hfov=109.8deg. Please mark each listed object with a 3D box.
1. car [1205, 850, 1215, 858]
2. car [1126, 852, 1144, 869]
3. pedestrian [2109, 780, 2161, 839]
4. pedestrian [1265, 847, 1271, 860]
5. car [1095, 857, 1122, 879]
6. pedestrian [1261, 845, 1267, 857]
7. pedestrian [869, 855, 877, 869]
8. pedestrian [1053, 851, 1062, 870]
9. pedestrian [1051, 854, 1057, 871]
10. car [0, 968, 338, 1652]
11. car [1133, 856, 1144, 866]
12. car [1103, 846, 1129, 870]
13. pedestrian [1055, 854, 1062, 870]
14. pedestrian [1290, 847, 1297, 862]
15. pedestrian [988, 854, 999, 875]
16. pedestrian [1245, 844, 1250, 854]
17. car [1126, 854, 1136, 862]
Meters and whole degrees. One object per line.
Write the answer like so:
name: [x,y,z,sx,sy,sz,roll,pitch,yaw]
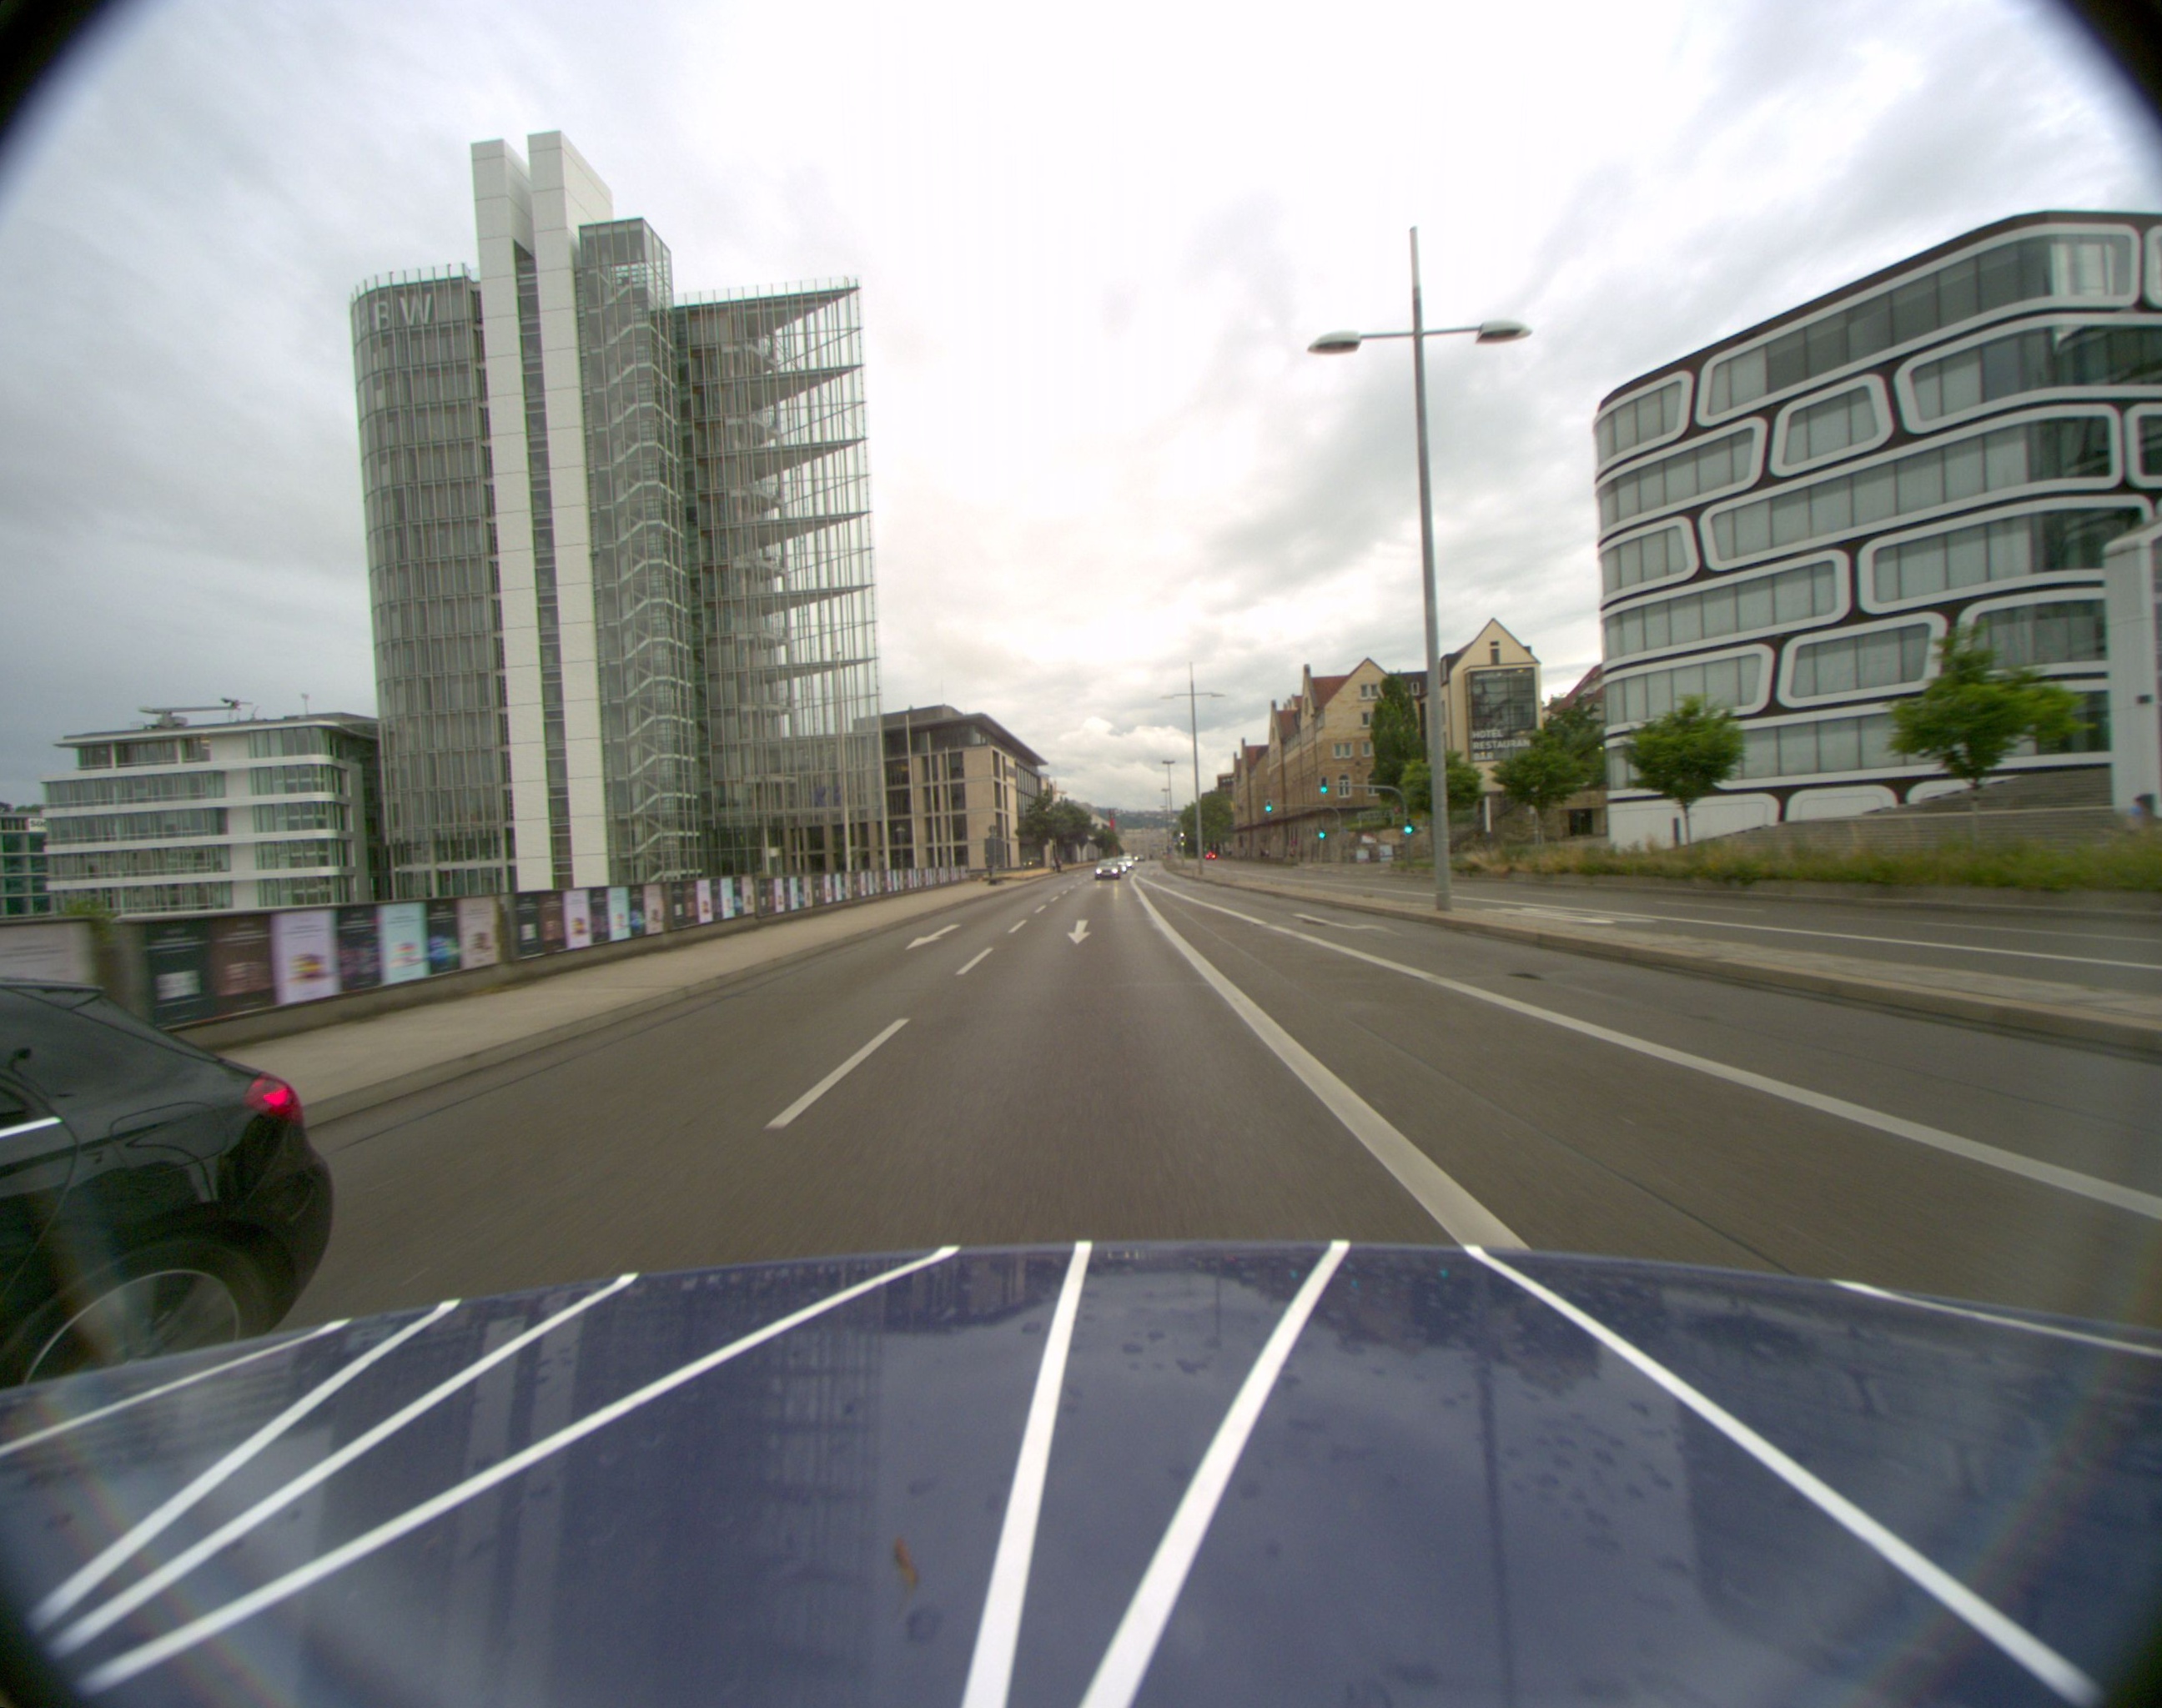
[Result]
car: [26.731,-0.038,157.016,1.714,1.455,4.002,-3,0,6]
car: [6.451,0.789,90.245,1.970,1.815,3.930,-2,-1,5]
pedestrian: [29.498,-1.228,21.257,0.612,1.602,0.639,-2,1,3]
pedestrian: [26.308,-0.048,107.118,0.677,1.769,0.684,-2,1,5]
car: [1.956,0.971,54.268,1.684,1.379,3.475,-2,1,-1]
pedestrian: [28.021,-0.458,116.468,0.677,1.769,0.684,-2,1,5]
pedestrian: [-24.717,0.943,90.413,0.634,1.735,0.635,-1,2,26]
pedestrian: [-2.292,0.613,73.302,0.728,1.761,0.783,-2,1,3]
pedestrian: [-2.520,0.794,71.341,0.461,1.590,0.656,-2,1,0]
car: [-3.239,1.100,0.306,1.727,1.368,4.154,-2,1,0]
car: [12.752,1.596,168.348,1.999,2.002,3.998,-2,1,-2]
car: [3.225,0.343,70.863,1.999,2.002,3.998,-2,1,-2]
pedestrian: [-2.144,0.745,72.204,0.542,1.519,0.600,-2,1,1]
pedestrian: [25.080,0.074,89.599,0.677,1.769,0.684,-2,1,5]
pedestrian: [-6.825,0.820,59.253,0.660,1.601,0.547,-3,0,5]
pedestrian: [29.615,-0.964,135.335,0.677,1.769,0.684,-2,1,5]
car: [12.445,0.978,189.637,1.999,2.002,3.998,-2,1,-2]
